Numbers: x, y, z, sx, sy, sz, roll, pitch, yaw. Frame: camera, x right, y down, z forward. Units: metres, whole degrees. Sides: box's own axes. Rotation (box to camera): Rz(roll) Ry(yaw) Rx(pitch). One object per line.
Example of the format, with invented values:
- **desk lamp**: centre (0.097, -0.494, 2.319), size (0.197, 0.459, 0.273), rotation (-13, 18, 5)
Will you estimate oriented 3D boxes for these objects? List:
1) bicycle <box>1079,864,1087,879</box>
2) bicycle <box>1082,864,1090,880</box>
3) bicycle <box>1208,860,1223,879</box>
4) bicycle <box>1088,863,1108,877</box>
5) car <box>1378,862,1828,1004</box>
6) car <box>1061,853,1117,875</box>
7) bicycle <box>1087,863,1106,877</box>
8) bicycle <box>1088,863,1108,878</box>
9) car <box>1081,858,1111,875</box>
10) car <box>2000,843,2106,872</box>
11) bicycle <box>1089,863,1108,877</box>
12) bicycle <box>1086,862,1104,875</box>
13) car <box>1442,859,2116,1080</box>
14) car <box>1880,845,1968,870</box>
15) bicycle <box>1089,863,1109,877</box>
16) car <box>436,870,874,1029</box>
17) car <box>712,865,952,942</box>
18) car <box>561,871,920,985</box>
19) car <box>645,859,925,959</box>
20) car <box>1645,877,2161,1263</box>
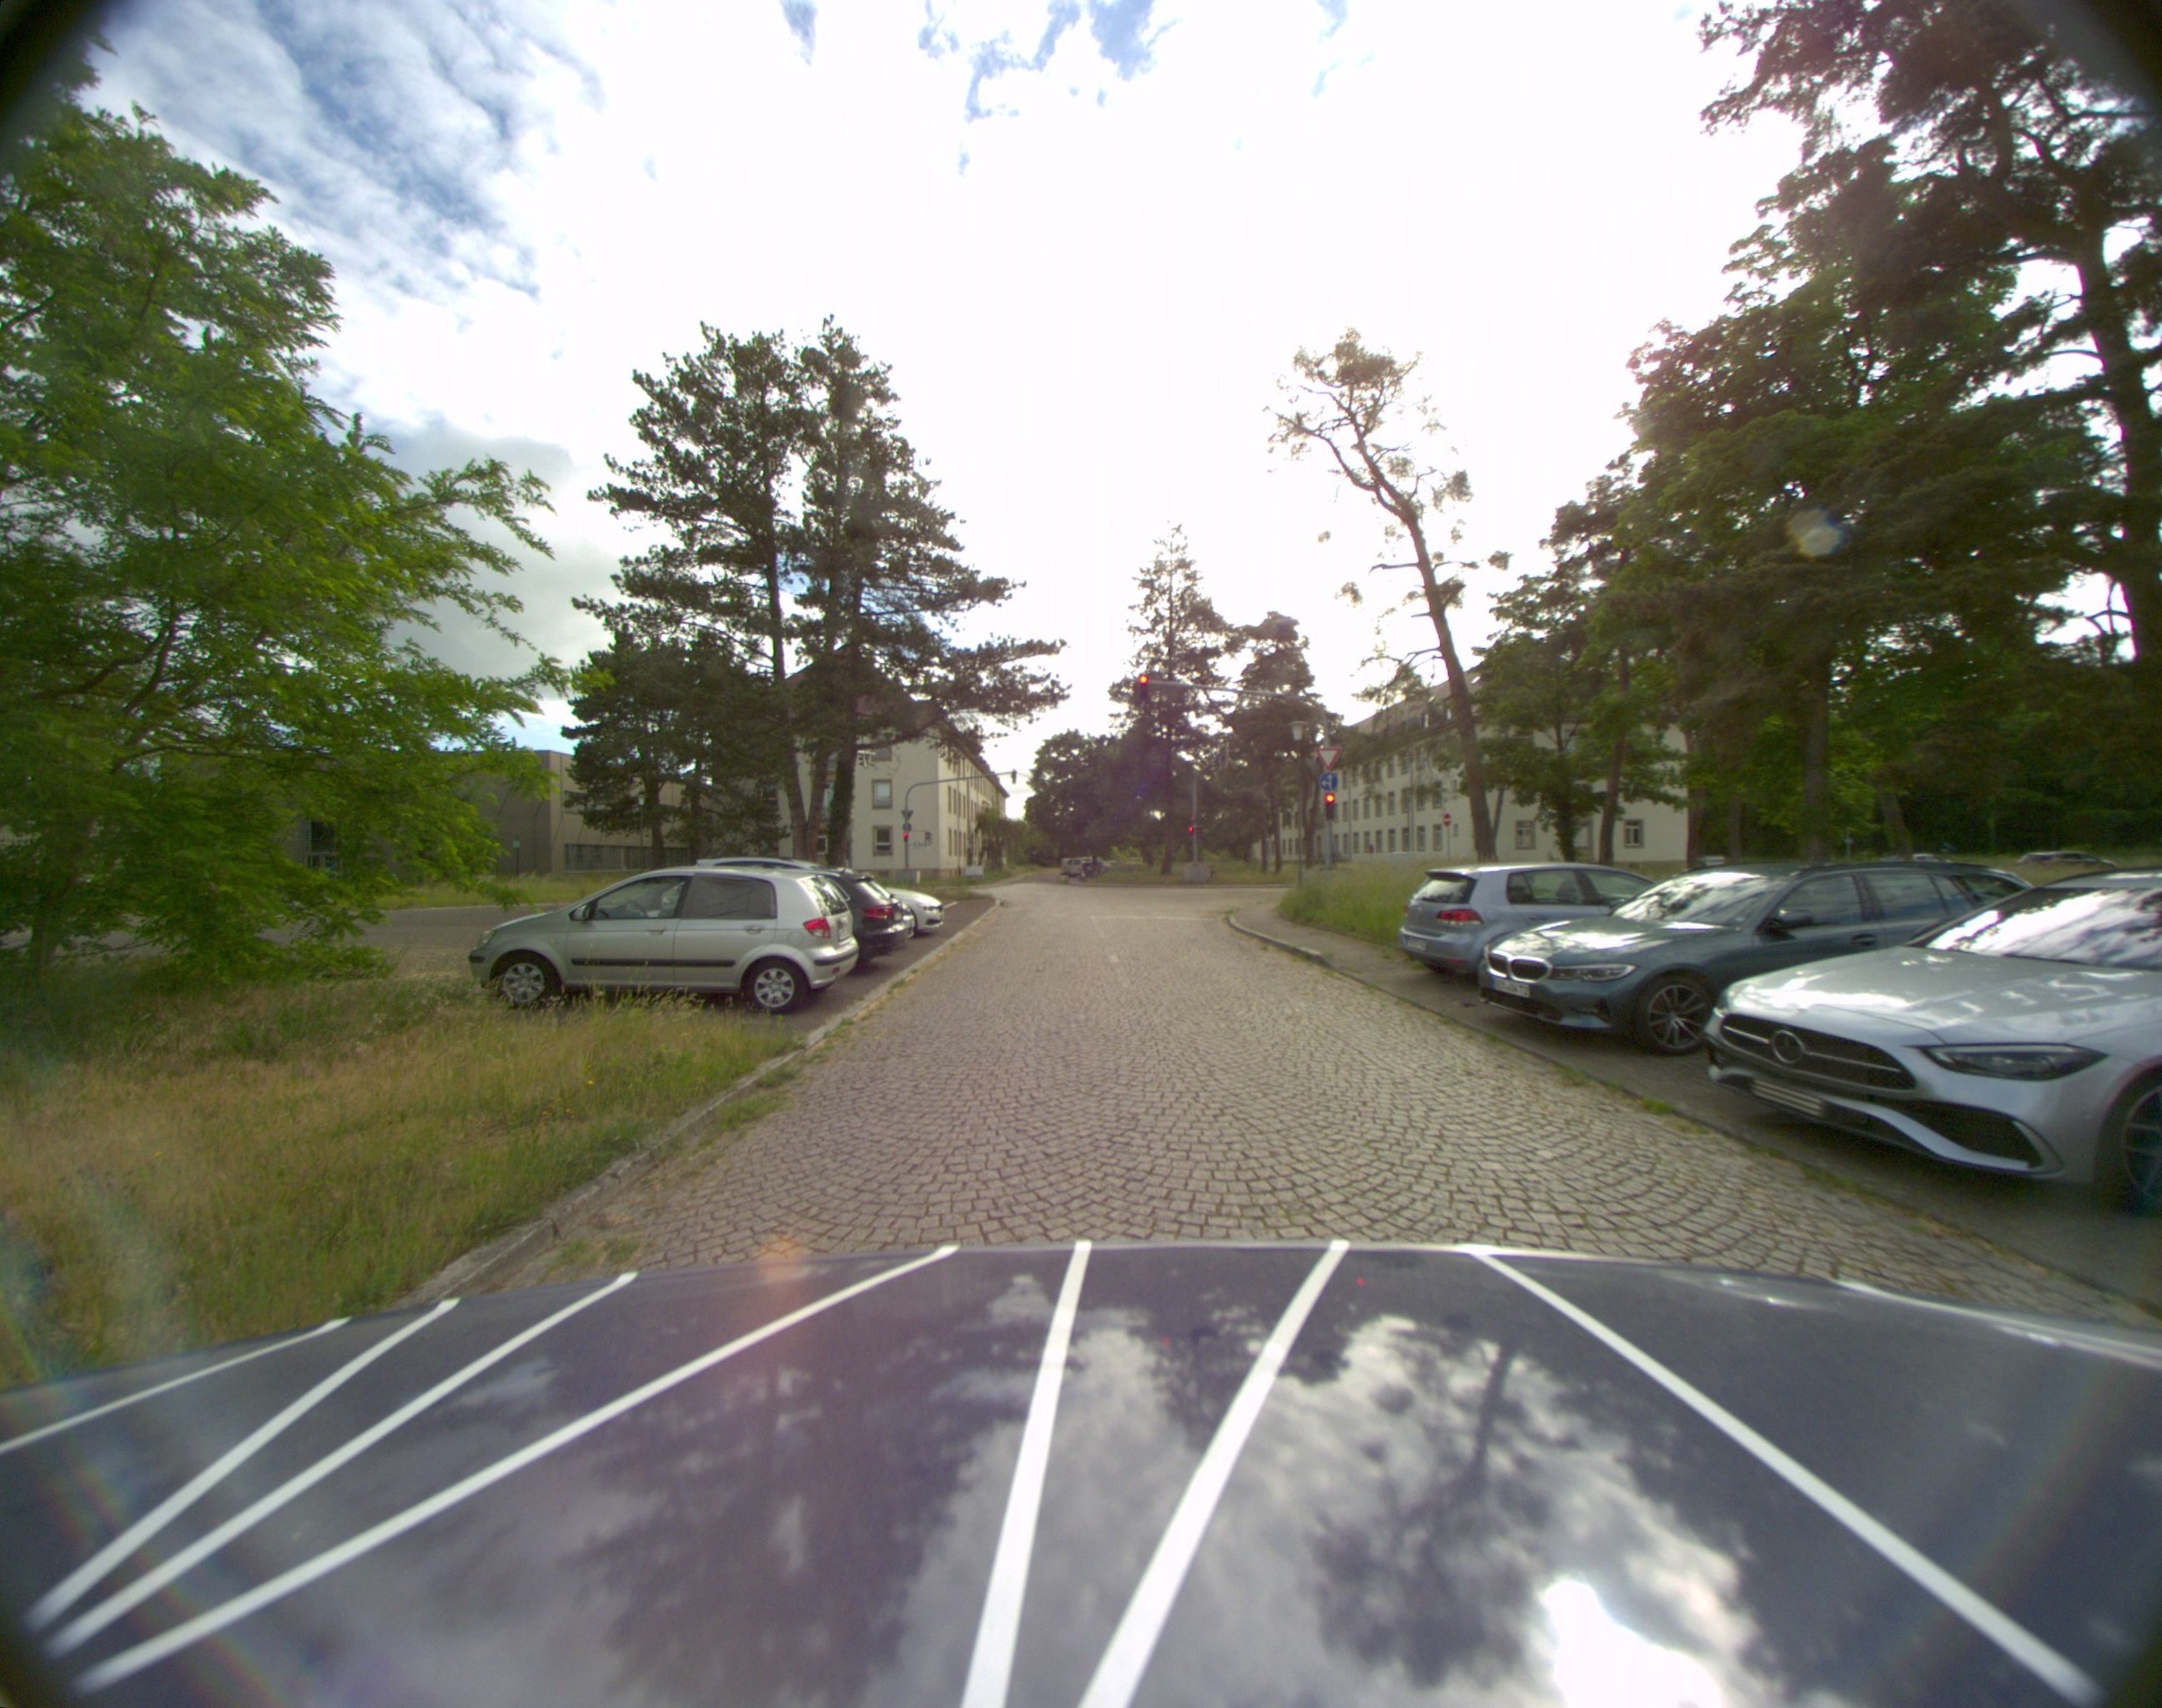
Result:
- **bicycle**: centre (0.132, 1.280, 56.711), size (0.497, 1.032, 1.416), rotation (-4, 1, -2)
- **bicycle**: centre (0.353, 1.277, 55.111), size (0.497, 1.068, 1.416), rotation (-4, 1, -2)
- **bicycle**: centre (8.124, 0.912, 45.962), size (0.497, 1.068, 1.416), rotation (-4, 1, -4)
- **bicycle**: centre (1.335, 1.244, 58.925), size (1.457, 1.032, 0.497), rotation (-4, 1, -6)
- **car**: centre (6.223, 0.900, 9.448), size (4.340, 1.462, 1.827), rotation (-1, 1, 0)
- **car**: centre (0.775, 1.001, 76.228), size (5.173, 1.905, 2.034), rotation (-3, 0, -15)
- **bicycle**: centre (1.274, 1.258, 61.703), size (1.457, 1.032, 0.497), rotation (-4, 1, -6)
- **bicycle**: centre (1.290, 1.229, 58.128), size (1.457, 1.032, 0.497), rotation (-4, 1, -9)
- **car**: centre (1.420, 1.206, 72.905), size (2.772, 1.407, 1.592), rotation (-3, 0, -2)
- **car**: centre (57.804, 0.169, 45.222), size (4.054, 1.601, 1.716), rotation (-1, 2, 1)
- **bicycle**: centre (1.400, 1.242, 60.546), size (1.457, 1.032, 0.497), rotation (-4, 1, -6)
- **bicycle**: centre (1.184, 1.262, 64.839), size (1.457, 1.032, 0.497), rotation (-4, 1, -6)
- **car**: centre (5.925, 0.880, 6.815), size (4.514, 1.528, 1.869), rotation (-1, 1, -4)
- **car**: centre (58.362, 0.199, 52.639), size (4.054, 1.601, 1.716), rotation (-1, 2, 3)
- **bicycle**: centre (1.442, 1.249, 59.962), size (1.457, 1.032, 0.497), rotation (-4, 1, -6)
- **car**: centre (-4.408, 0.974, 8.382), size (3.783, 1.471, 1.742), rotation (2, -1, -4)
- **car**: centre (-5.188, 1.027, 16.334), size (4.563, 1.417, 1.826), rotation (2, 0, -4)
- **car**: centre (-4.730, 1.015, 11.078), size (4.378, 1.397, 1.796), rotation (2, -1, -3)
- **car**: centre (-5.150, 0.954, 13.757), size (4.343, 1.565, 1.826), rotation (2, 0, -6)
- **car**: centre (6.012, 0.916, 4.131), size (4.448, 1.447, 1.949), rotation (-1, 1, 0)
